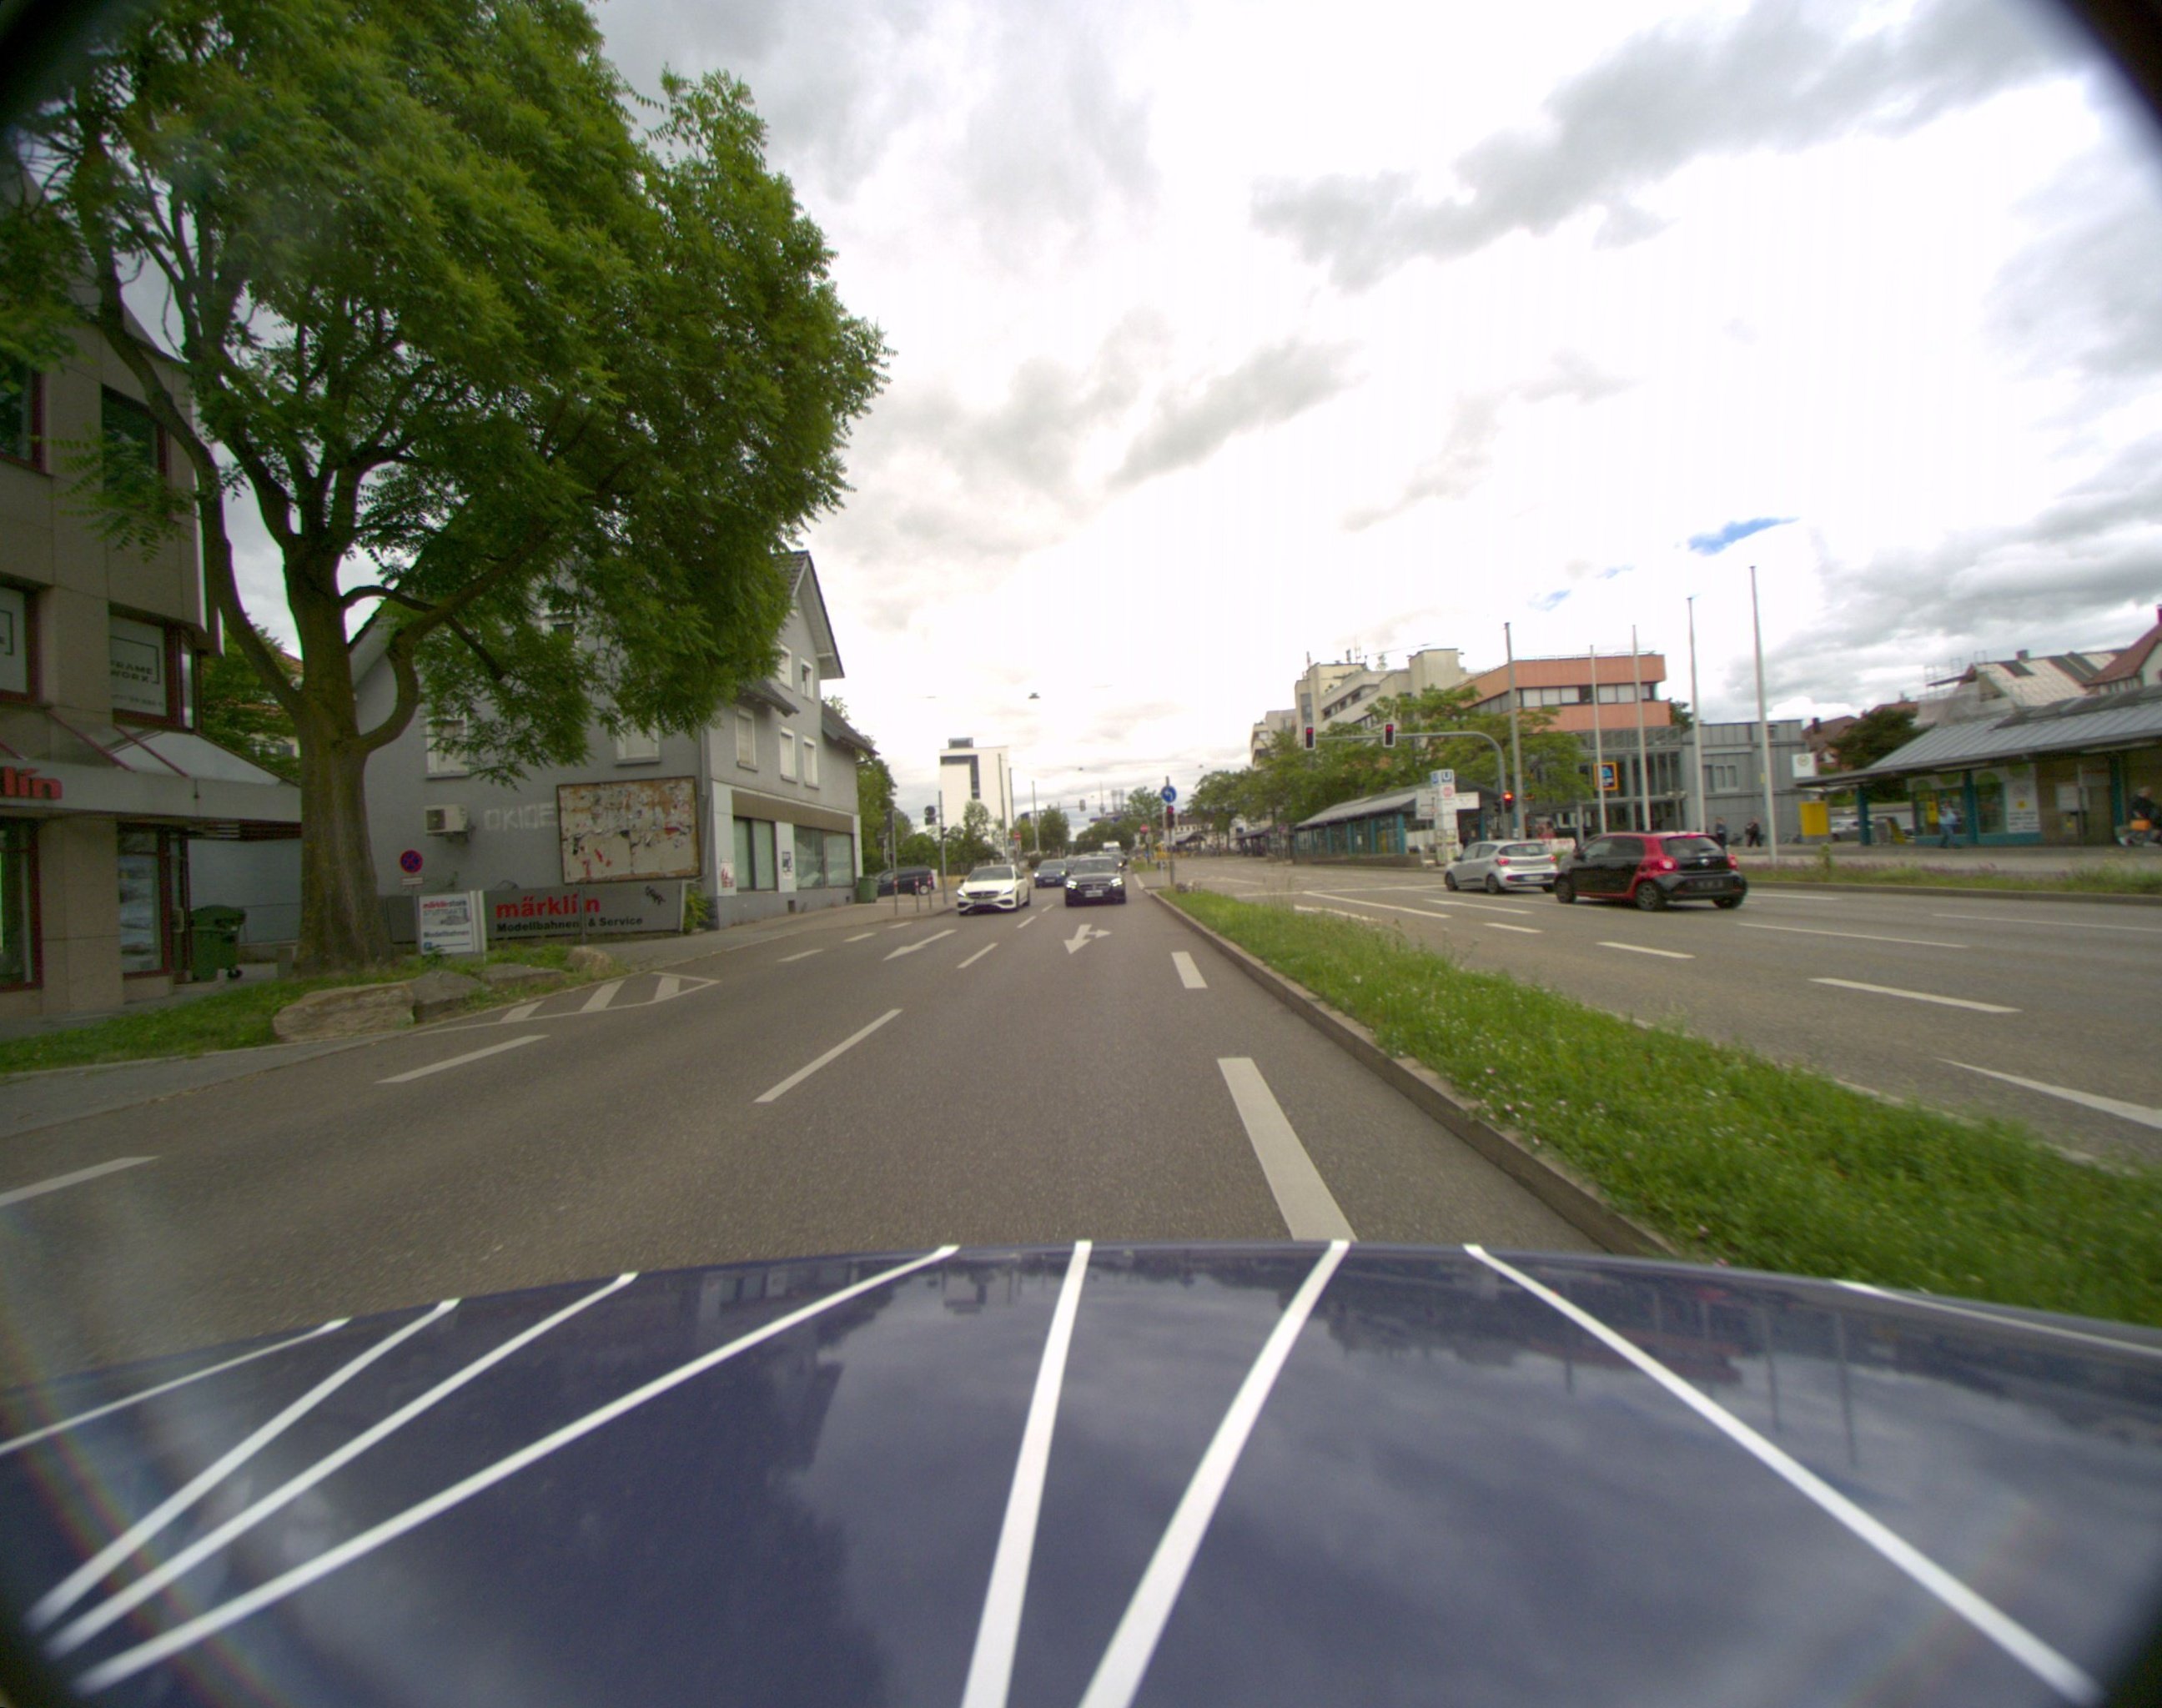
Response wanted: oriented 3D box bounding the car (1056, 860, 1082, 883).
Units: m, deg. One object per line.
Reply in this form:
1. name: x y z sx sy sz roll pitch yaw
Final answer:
1. car: -0.922 1.256 56.387 1.769 1.440 4.419 -3 1 -2

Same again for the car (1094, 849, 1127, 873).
1. car: 2.091 0.478 54.403 1.972 1.631 4.311 -2 0 -3

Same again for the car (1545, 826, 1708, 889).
1. car: 14.971 0.073 21.168 1.819 1.499 4.001 -3 1 4

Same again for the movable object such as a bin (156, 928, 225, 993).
1. movable object such as a bin: -15.816 1.888 13.508 0.489 1.060 0.560 -3 1 2

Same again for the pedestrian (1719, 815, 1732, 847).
1. pedestrian: 31.840 -1.157 37.549 0.486 1.539 0.383 -4 1 -42

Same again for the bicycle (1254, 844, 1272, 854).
1. bicycle: 22.842 -0.686 95.305 2.069 1.084 0.542 -5 1 2

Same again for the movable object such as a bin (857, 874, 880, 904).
1. movable object such as a bin: -8.216 1.356 29.409 0.610 1.098 0.710 -4 0 3

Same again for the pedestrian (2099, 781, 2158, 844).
1. pedestrian: 28.223 -1.095 20.479 0.621 1.640 0.658 -3 1 4

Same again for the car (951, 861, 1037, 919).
1. car: -2.644 1.048 24.101 1.798 1.464 4.700 -3 0 4

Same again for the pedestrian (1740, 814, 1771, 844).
1. pedestrian: 33.771 -1.251 38.051 0.591 1.452 0.992 -4 0 3

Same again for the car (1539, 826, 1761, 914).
1. car: 11.386 0.275 15.566 1.663 1.499 3.768 -3 1 0

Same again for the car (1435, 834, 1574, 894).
1. car: 11.799 0.278 21.471 1.749 1.456 3.790 -3 -1 0

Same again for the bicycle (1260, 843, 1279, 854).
1. bicycle: 22.954 -0.661 92.652 2.069 1.132 0.542 -5 1 -3

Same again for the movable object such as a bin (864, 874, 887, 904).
1. movable object such as a bin: -8.167 1.379 30.216 0.627 1.098 0.710 -4 0 3

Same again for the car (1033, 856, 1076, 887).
1. car: -1.388 0.913 41.542 1.798 1.464 4.311 -3 0 4

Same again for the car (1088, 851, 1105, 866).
1. car: 2.003 0.609 98.731 2.020 1.759 4.000 -3 0 1

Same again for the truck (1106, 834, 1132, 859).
1. truck: 5.405 -1.029 109.230 3.119 3.209 6.523 -3 0 -2

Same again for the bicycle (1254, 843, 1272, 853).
1. bicycle: 22.940 -0.785 96.038 2.069 1.132 0.542 -5 1 2

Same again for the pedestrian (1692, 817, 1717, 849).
1. pedestrian: 30.916 -1.032 37.661 0.531 1.539 0.752 -4 1 -31

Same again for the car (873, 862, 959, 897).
1. car: -10.463 1.596 48.292 4.881 1.877 2.012 -3 1 -31

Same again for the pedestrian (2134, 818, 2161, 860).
1. pedestrian: 29.058 -0.404 20.395 0.621 1.114 0.658 -3 1 4

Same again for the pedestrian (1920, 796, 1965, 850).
1. pedestrian: 27.405 -0.977 24.173 0.621 1.640 0.658 -3 1 4

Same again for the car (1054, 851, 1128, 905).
1. car: 0.439 0.703 24.885 2.057 1.477 4.974 -3 0 4

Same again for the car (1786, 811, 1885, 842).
1. car: 45.109 -1.634 45.500 3.998 1.587 1.999 -3 0 -2

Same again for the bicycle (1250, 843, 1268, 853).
1. bicycle: 22.674 -0.813 96.981 2.069 1.084 0.542 -5 1 2

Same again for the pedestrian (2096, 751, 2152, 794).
1. pedestrian: 29.207 -2.265 21.281 0.621 1.114 0.658 -3 1 4

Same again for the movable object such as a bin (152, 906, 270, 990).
1. movable object such as a bin: -16.440 1.753 14.399 0.886 1.405 1.086 -3 0 2
